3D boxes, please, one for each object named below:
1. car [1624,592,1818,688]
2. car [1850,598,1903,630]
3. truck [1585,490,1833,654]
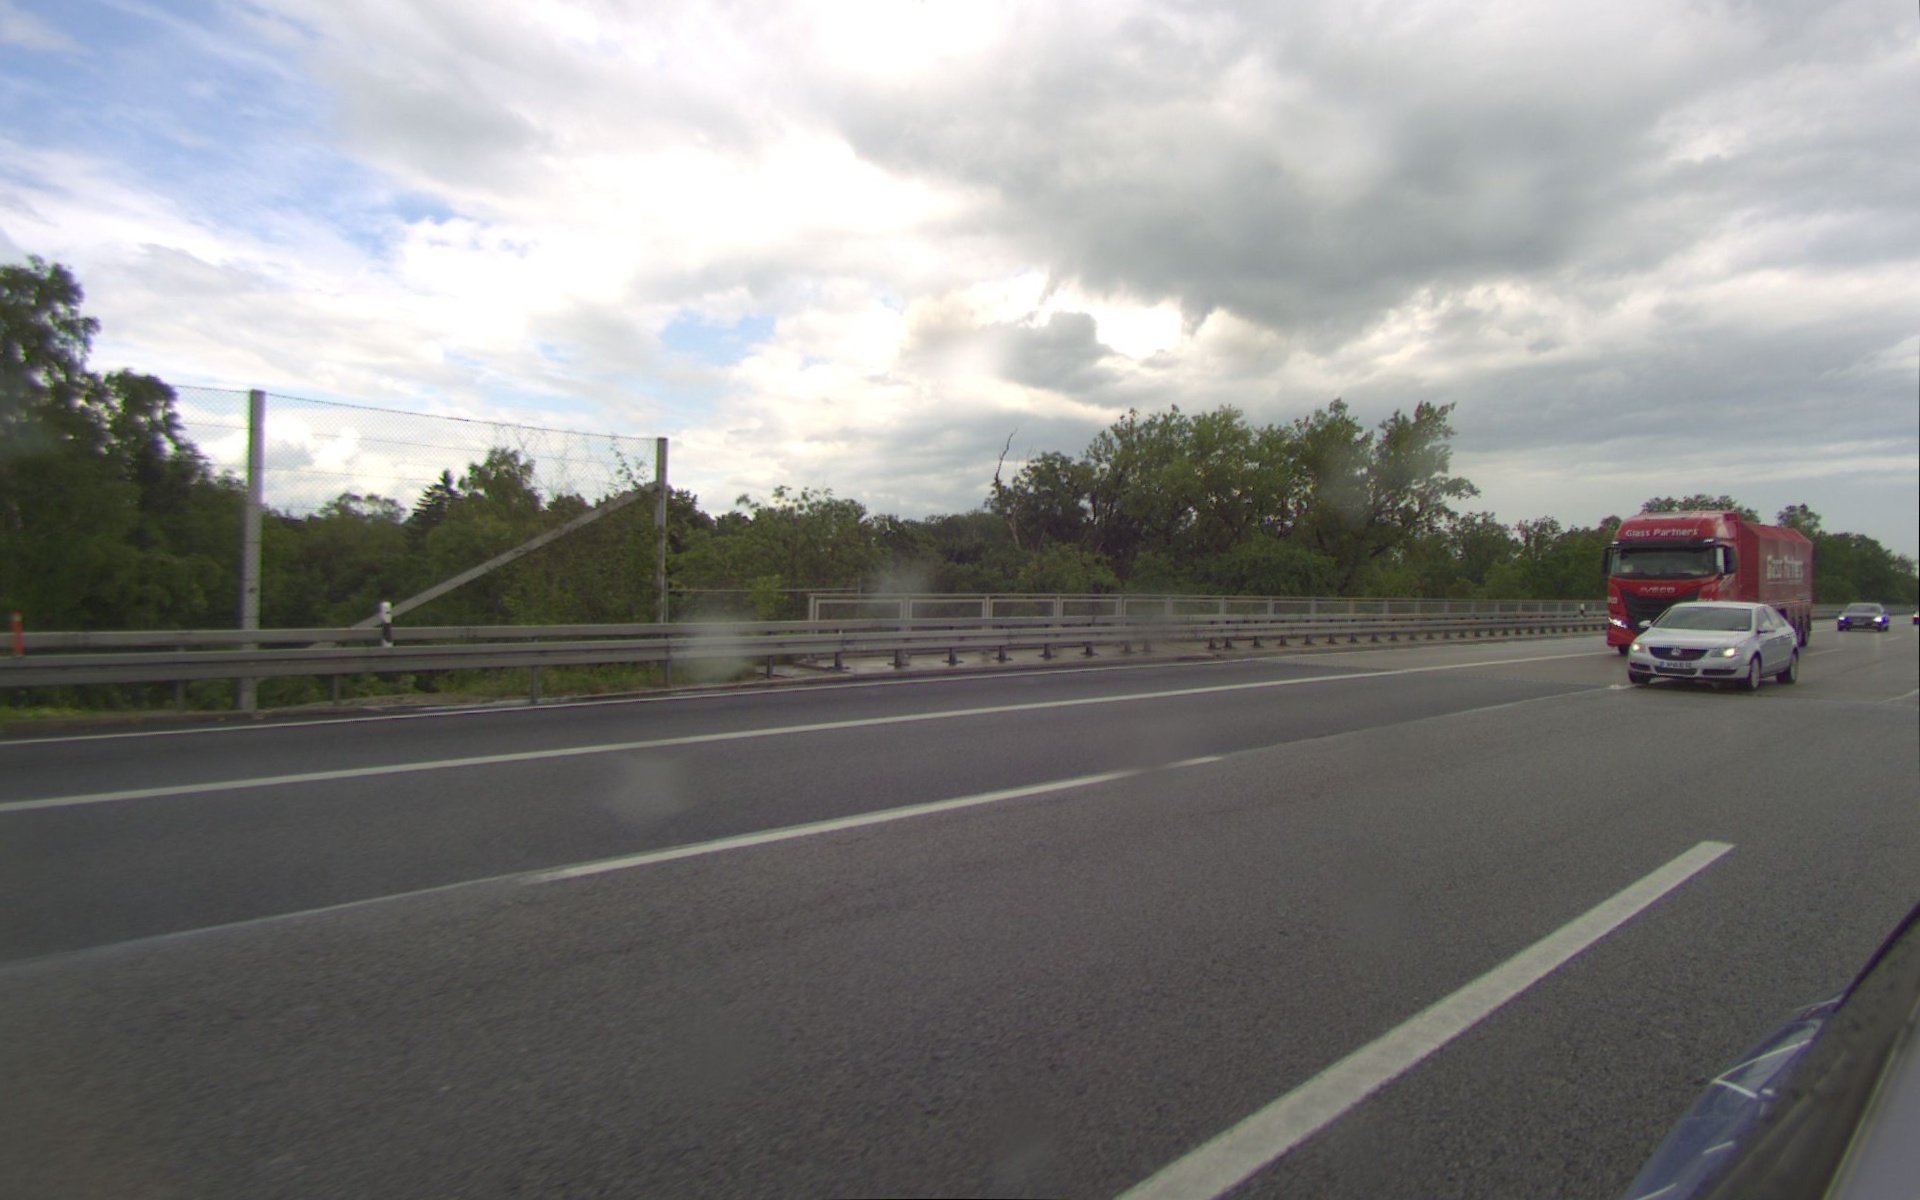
[{"bbox_3d":[13.428,0.625,17.777,4.171,1.465,1.897,0,1,-41],"label":"car"},{"bbox_3d":[48.378,0.722,53.405,4.285,1.562,1.816,0,1,-44],"label":"car"},{"bbox_3d":[23.702,-0.696,31.353,15.366,4.054,3.157,0,1,-42],"label":"truck"}]
